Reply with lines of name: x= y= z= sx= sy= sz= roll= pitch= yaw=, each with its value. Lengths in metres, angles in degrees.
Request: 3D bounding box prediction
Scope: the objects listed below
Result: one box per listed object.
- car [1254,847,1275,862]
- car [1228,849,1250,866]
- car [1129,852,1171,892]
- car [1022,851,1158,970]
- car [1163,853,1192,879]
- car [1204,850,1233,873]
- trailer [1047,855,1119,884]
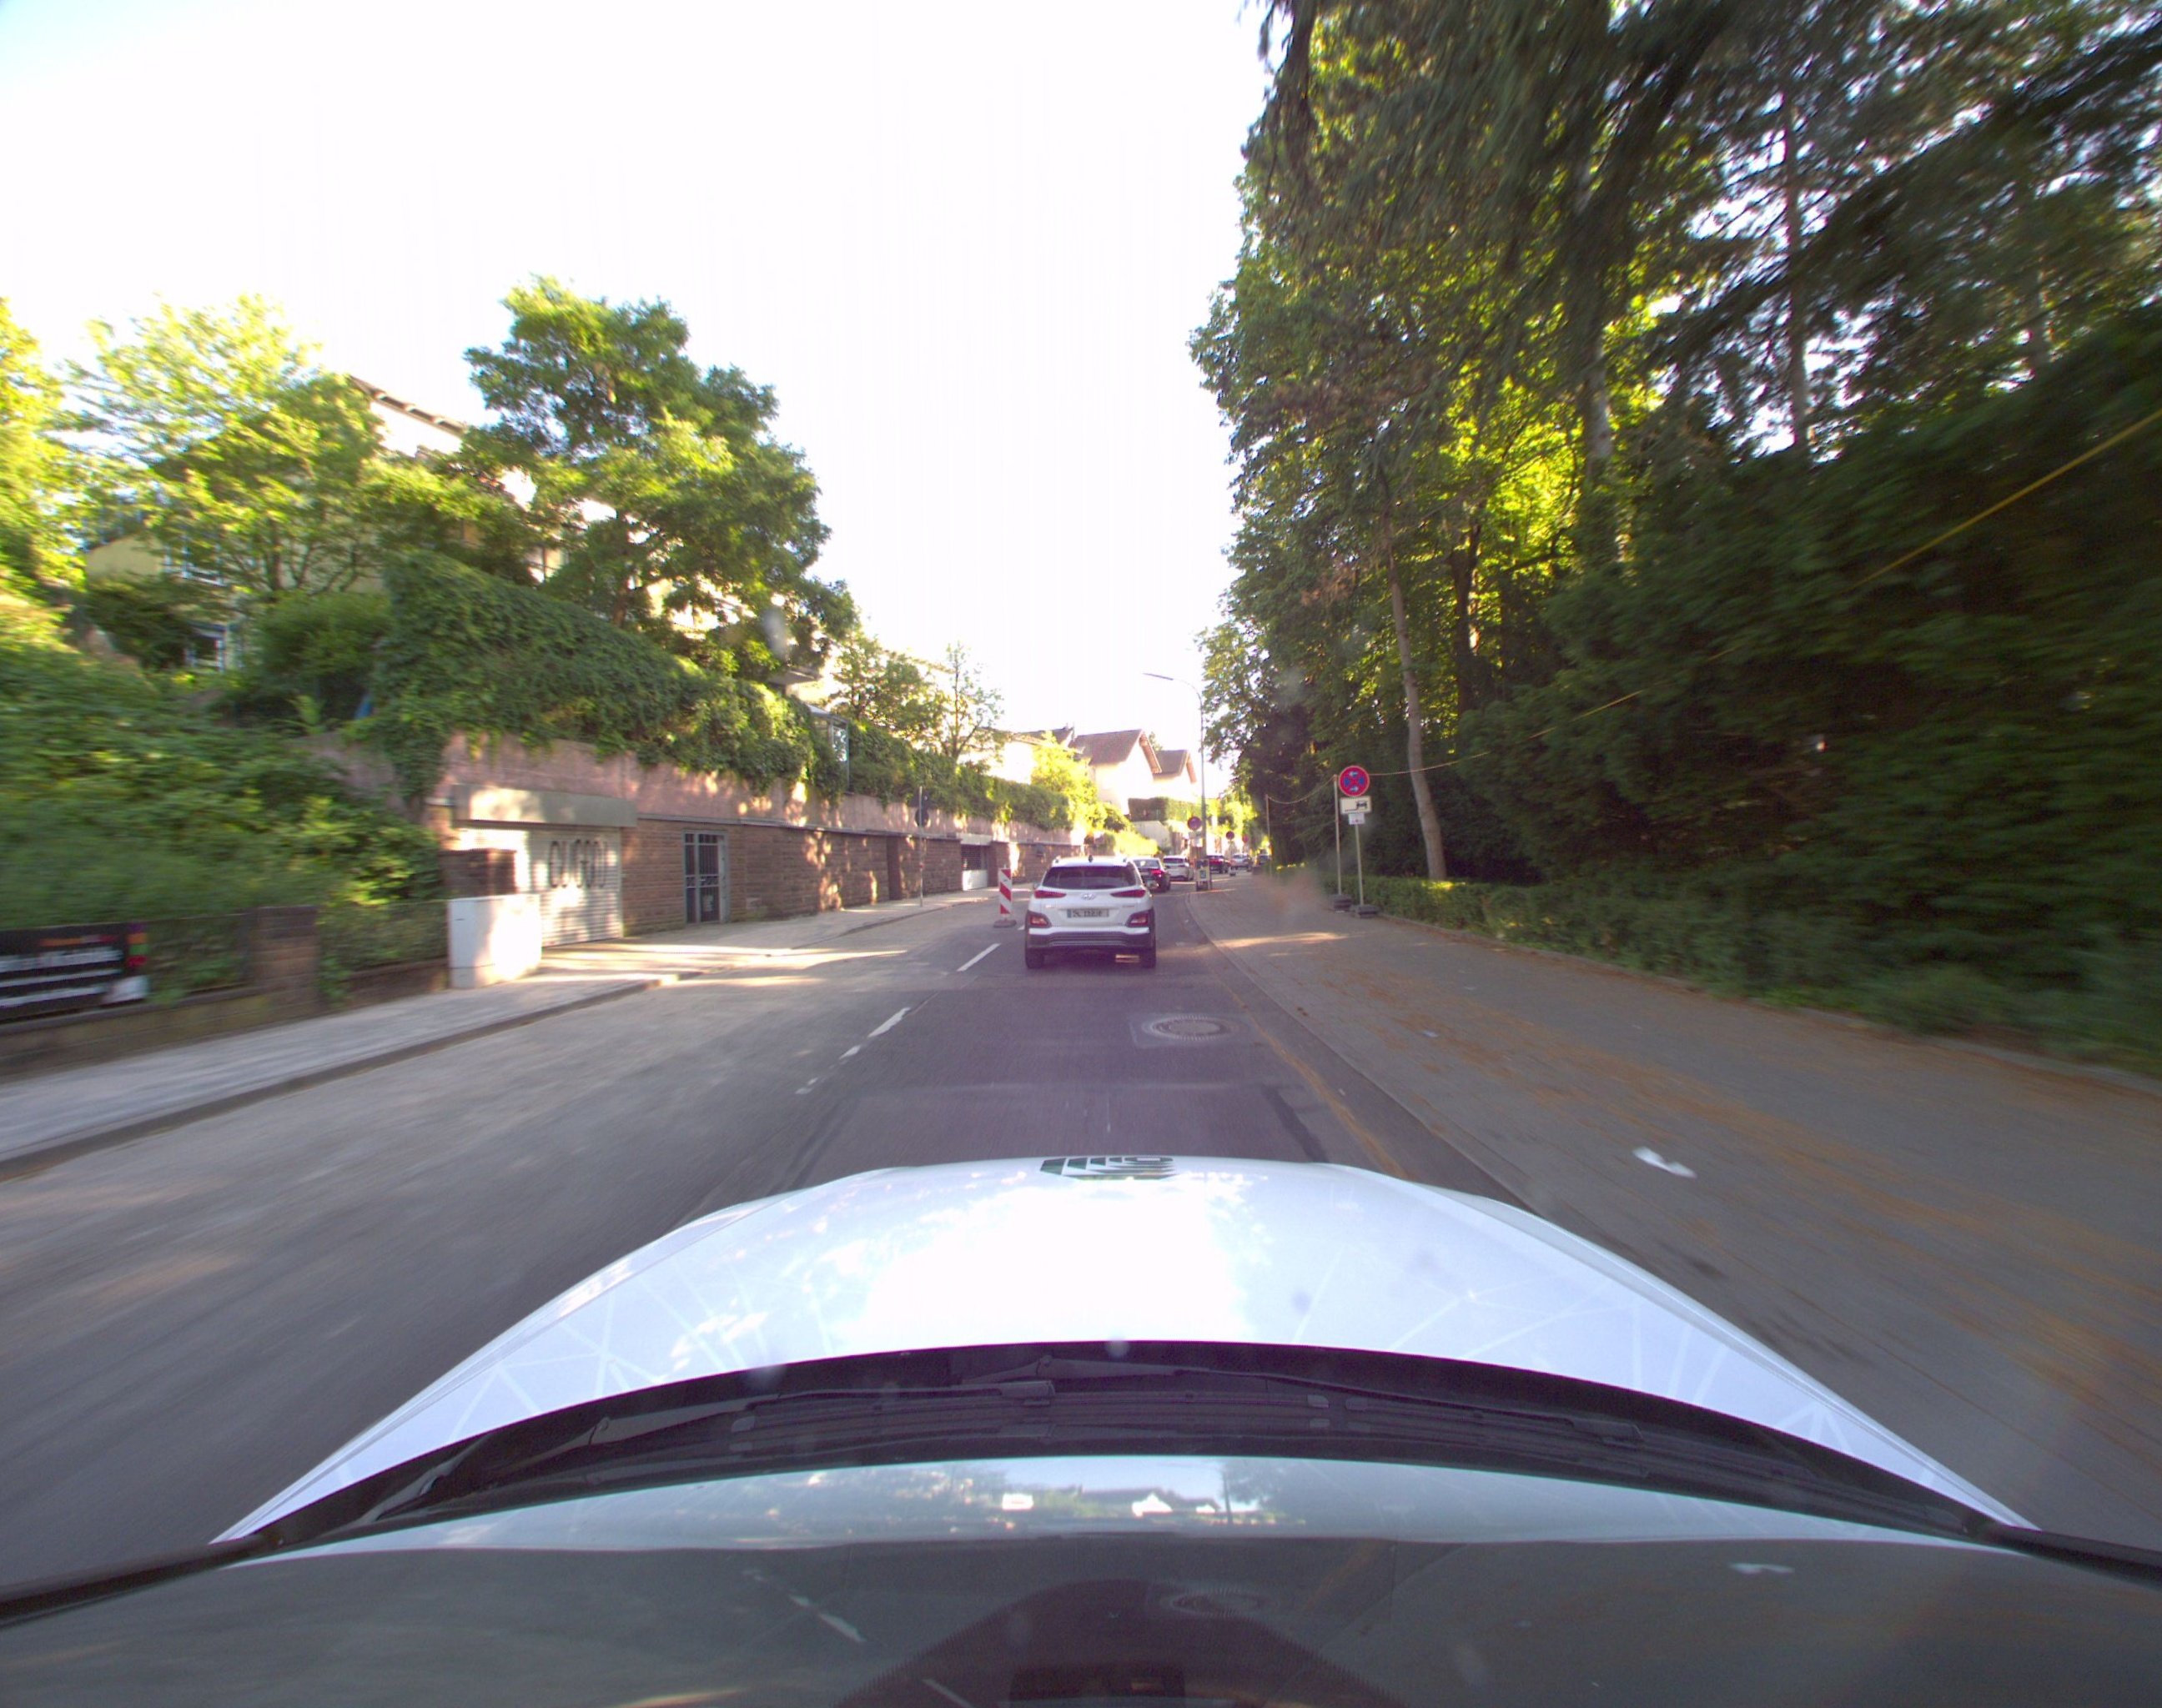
car: x=21.293 y=0.089 z=94.540 sx=1.679 sy=1.504 sz=3.650 roll=-5 pitch=-1 yaw=21
car: x=15.626 y=0.365 z=80.314 sx=1.681 sy=1.447 sz=3.898 roll=-5 pitch=-1 yaw=16
car: x=2.932 y=0.708 z=34.234 sx=1.503 sy=1.533 sz=3.556 roll=-2 pitch=0 yaw=8
car: x=0.168 y=0.748 z=12.679 sx=1.766 sy=1.542 sz=4.001 roll=0 pitch=0 yaw=1
car: x=5.865 y=0.683 z=49.240 sx=1.561 sy=1.477 sz=3.557 roll=-1 pitch=0 yaw=9
car: x=11.079 y=0.583 z=65.449 sx=1.680 sy=1.533 sz=3.899 roll=-6 pitch=-1 yaw=17
trailer: x=0.255 y=0.817 z=45.672 sx=2.622 sy=1.489 sz=7.141 roll=-1 pitch=0 yaw=12
